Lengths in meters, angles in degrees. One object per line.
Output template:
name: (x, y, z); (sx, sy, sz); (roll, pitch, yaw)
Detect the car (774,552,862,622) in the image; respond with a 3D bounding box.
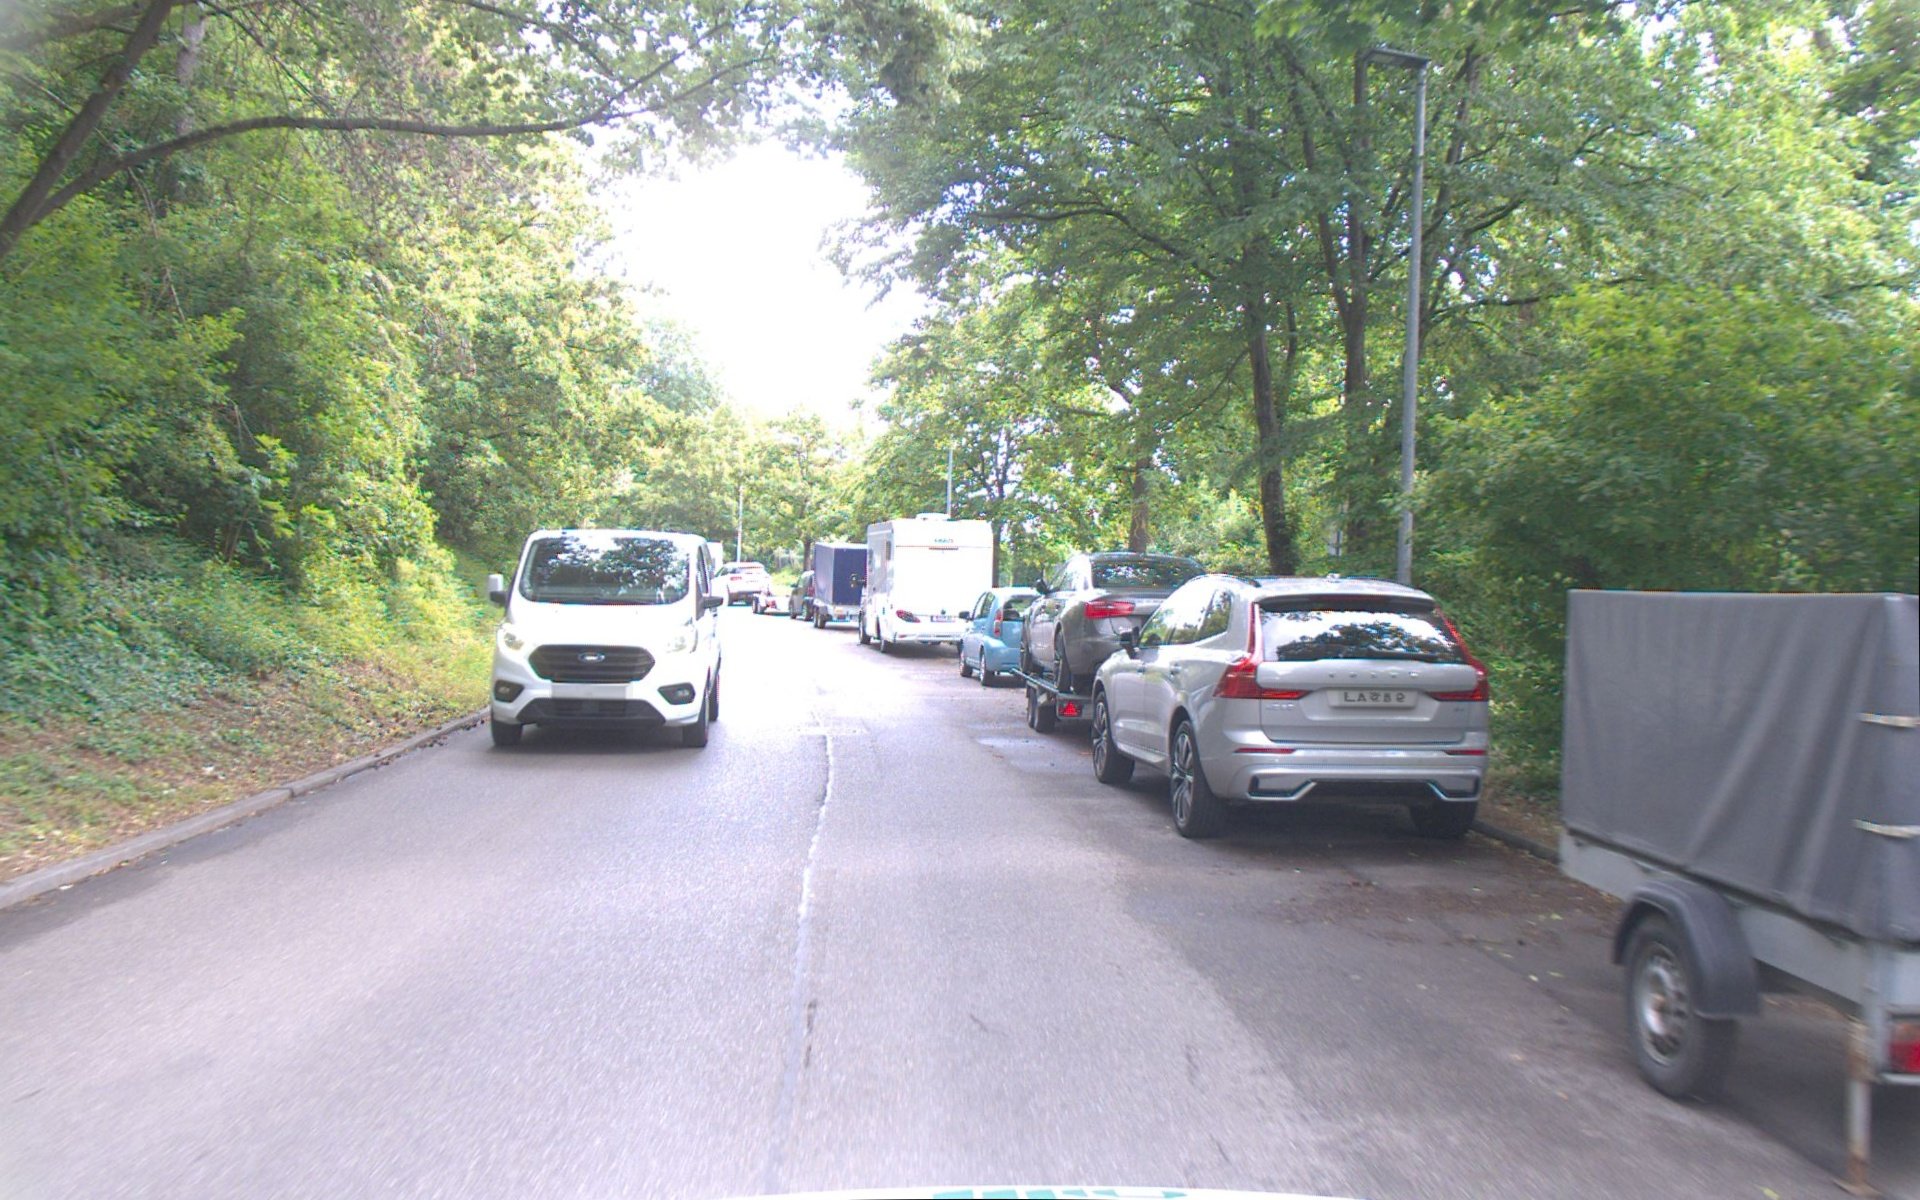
car: (-4.638, -0.467, 53.554); (1.963, 2.061, 3.981); (-1, 3, -18)

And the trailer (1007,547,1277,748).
trailer: (1.784, 0.397, 18.027); (1.940, 1.843, 5.144); (1, 1, -5)

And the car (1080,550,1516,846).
car: (2.151, 0.613, 11.878); (1.758, 1.699, 4.495); (1, -1, -6)

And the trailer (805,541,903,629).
trailer: (-3.156, -0.442, 48.494); (1.962, 2.440, 3.981); (1, 0, -17)

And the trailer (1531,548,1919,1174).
trailer: (3.009, 0.686, 5.522); (1.253, 1.612, 2.459); (2, 0, -2)

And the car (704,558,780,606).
car: (-8.772, -0.748, 66.257); (2.007, 1.835, 4.055); (1, 1, -23)

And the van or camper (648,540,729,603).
van or camper: (-12.218, -1.295, 74.217); (2.494, 2.744, 4.540); (0, 1, -25)

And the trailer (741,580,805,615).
trailer: (-6.506, -0.125, 57.266); (1.624, 1.105, 3.985); (-1, 2, -15)

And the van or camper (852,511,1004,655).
van or camper: (-0.867, -0.382, 37.712); (2.436, 2.926, 6.874); (2, 0, -9)

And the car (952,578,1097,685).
car: (0.995, 0.466, 27.364); (1.766, 1.589, 3.829); (1, 1, -7)

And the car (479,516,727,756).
car: (-3.373, 0.293, 16.439); (1.910, 2.019, 4.496); (1, 0, -6)
